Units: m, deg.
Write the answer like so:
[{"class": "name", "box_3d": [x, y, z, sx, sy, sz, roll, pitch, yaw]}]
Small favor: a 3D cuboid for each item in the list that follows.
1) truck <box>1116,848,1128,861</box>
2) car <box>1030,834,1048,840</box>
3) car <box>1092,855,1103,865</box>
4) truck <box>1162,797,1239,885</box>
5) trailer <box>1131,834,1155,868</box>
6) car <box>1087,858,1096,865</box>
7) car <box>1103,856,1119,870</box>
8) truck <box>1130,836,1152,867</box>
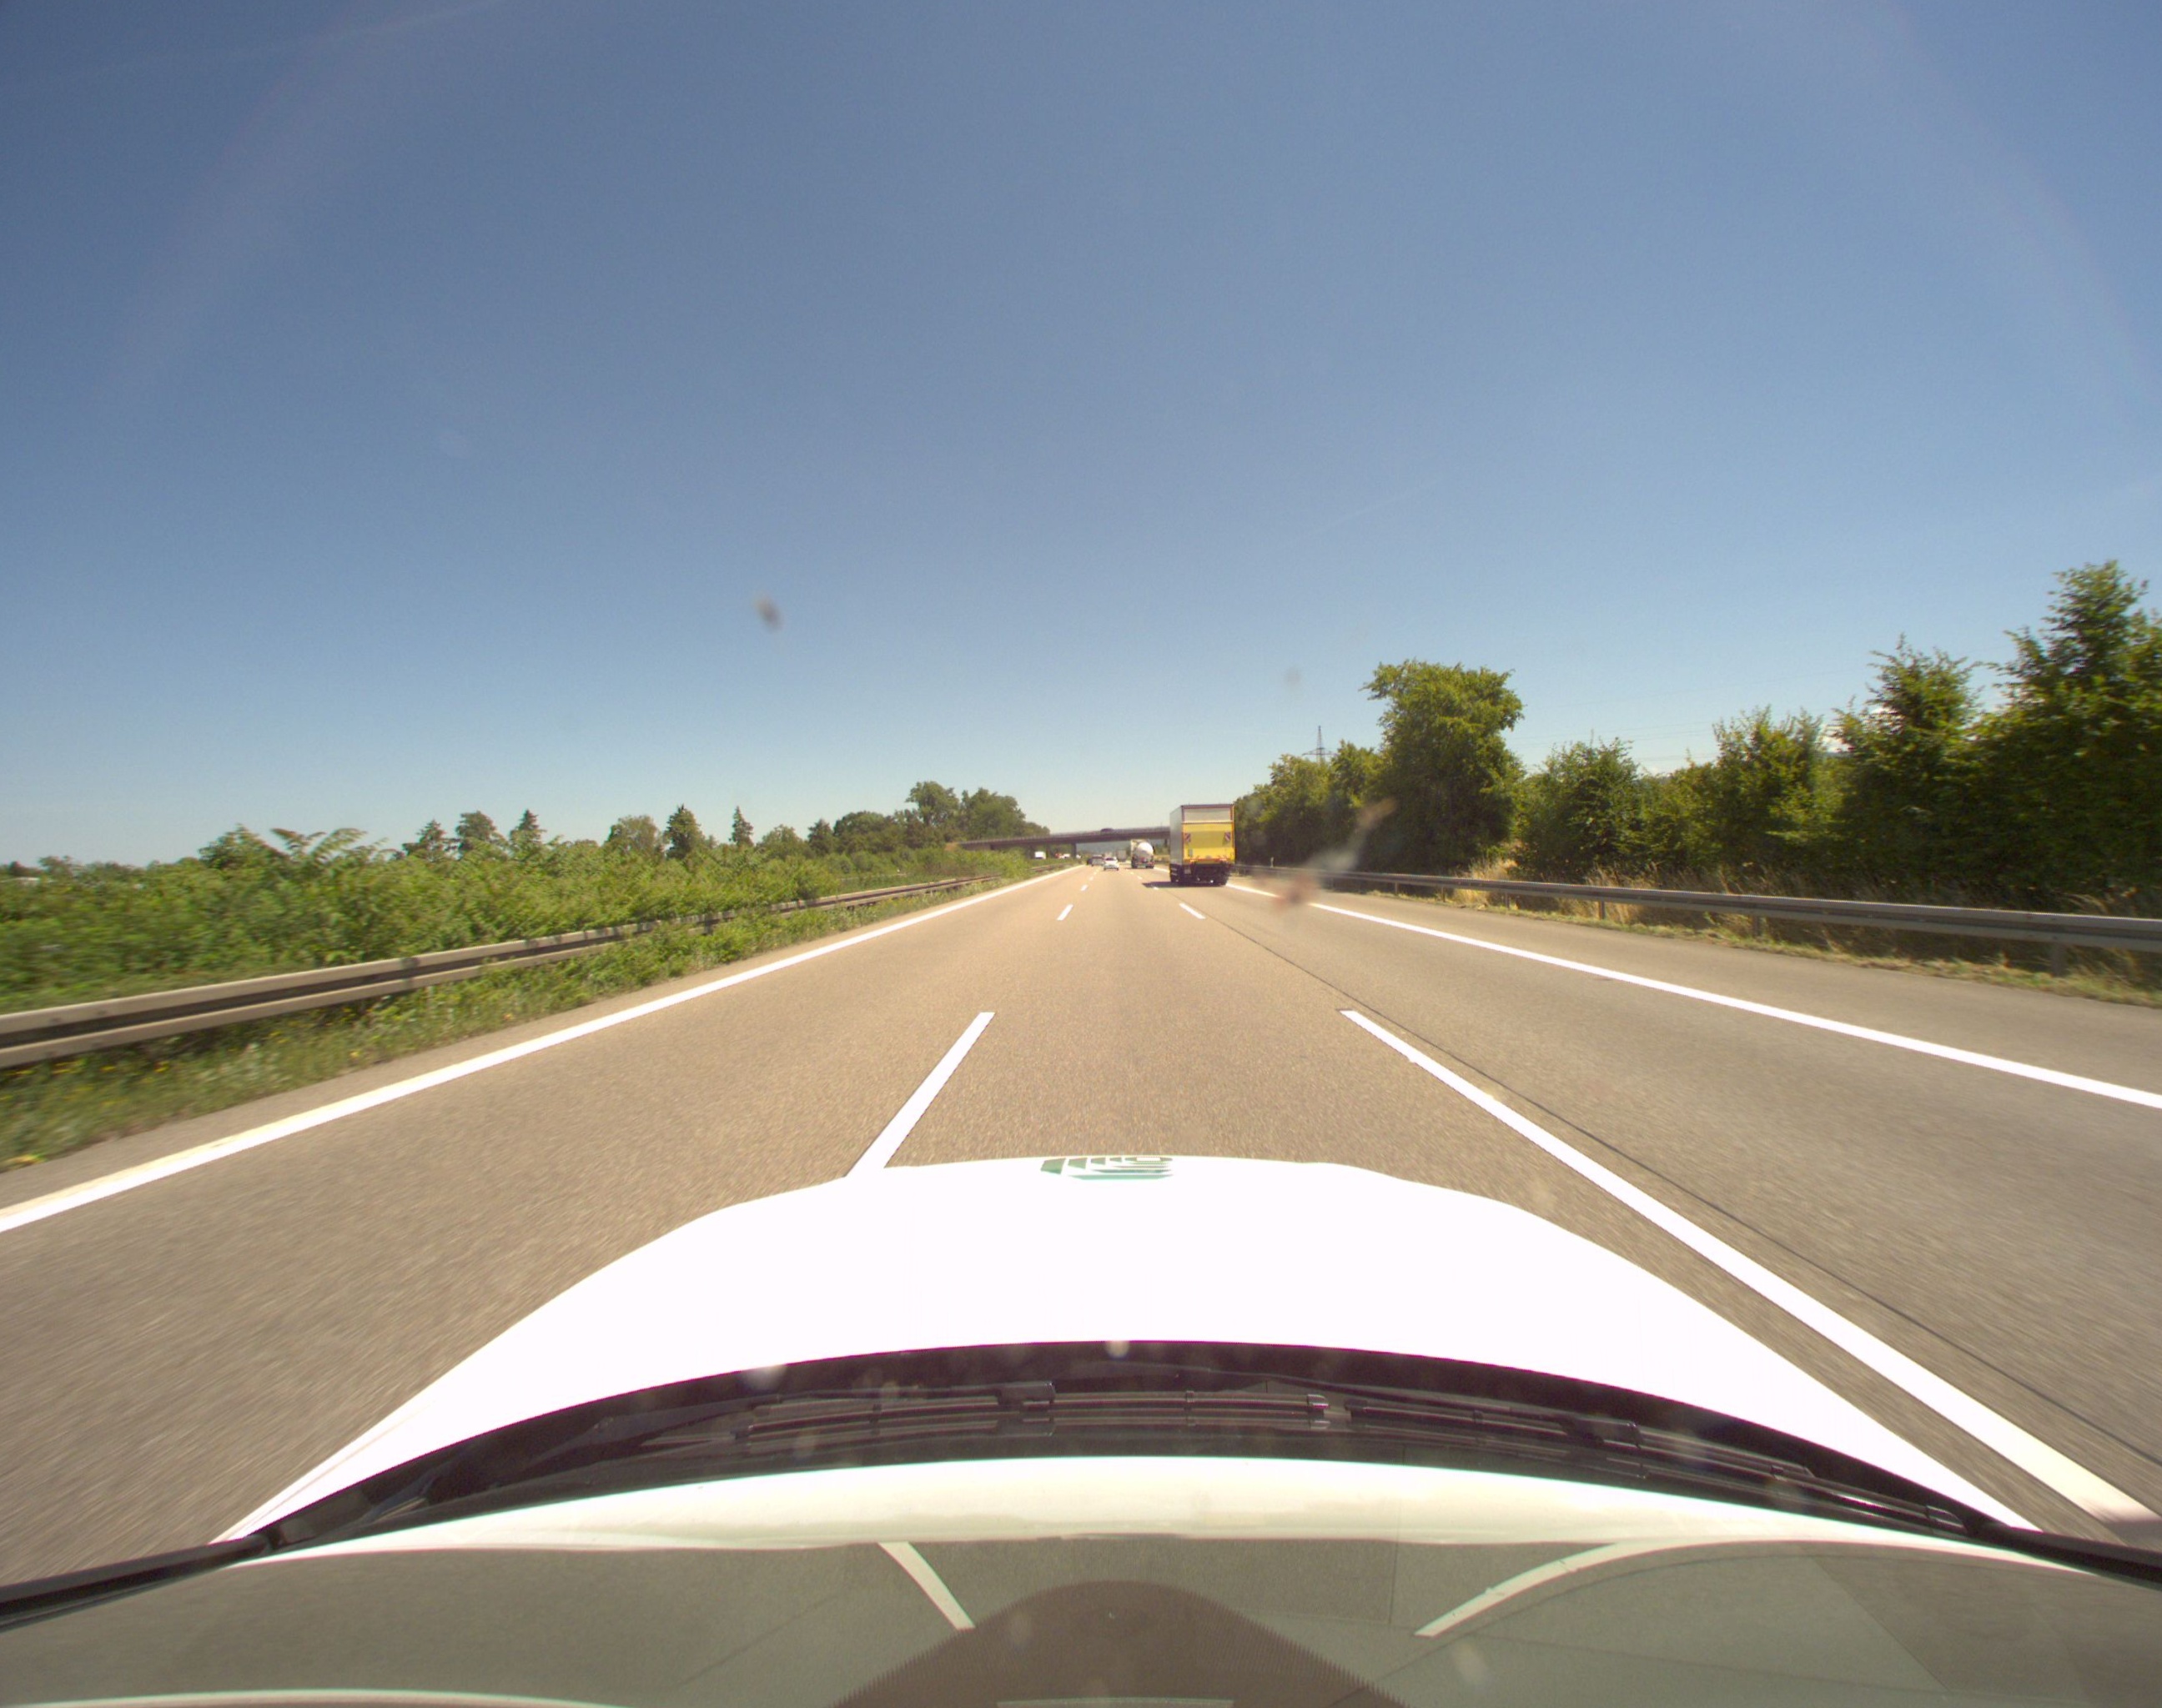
[{"class": "truck", "box_3d": [12.838, 0.144, 255.425, 3.253, 3.857, 11.635, 0, 0, 2]}, {"class": "car", "box_3d": [-10.190, -4.082, 198.403, 3.948, 1.386, 1.853, 0, 0, 36]}, {"class": "car", "box_3d": [2.819, 1.050, 138.040, 1.845, 1.633, 4.002, 0, 0, 2]}, {"class": "truck", "box_3d": [6.246, -0.616, 44.301, 2.922, 4.200, 10.685, 0, 0, 2]}, {"class": "trailer", "box_3d": [7.938, -0.351, 105.473, 2.570, 4.074, 11.106, 0, 0, 1]}, {"class": "car", "box_3d": [2.089, 1.417, 160.029, 1.828, 1.386, 4.002, 0, 0, 2]}, {"class": "car", "box_3d": [3.437, 1.012, 92.447, 1.799, 1.468, 4.002, 0, 0, 2]}, {"class": "truck", "box_3d": [8.074, -0.339, 110.347, 2.563, 4.072, 6.394, 0, 0, 1]}]
